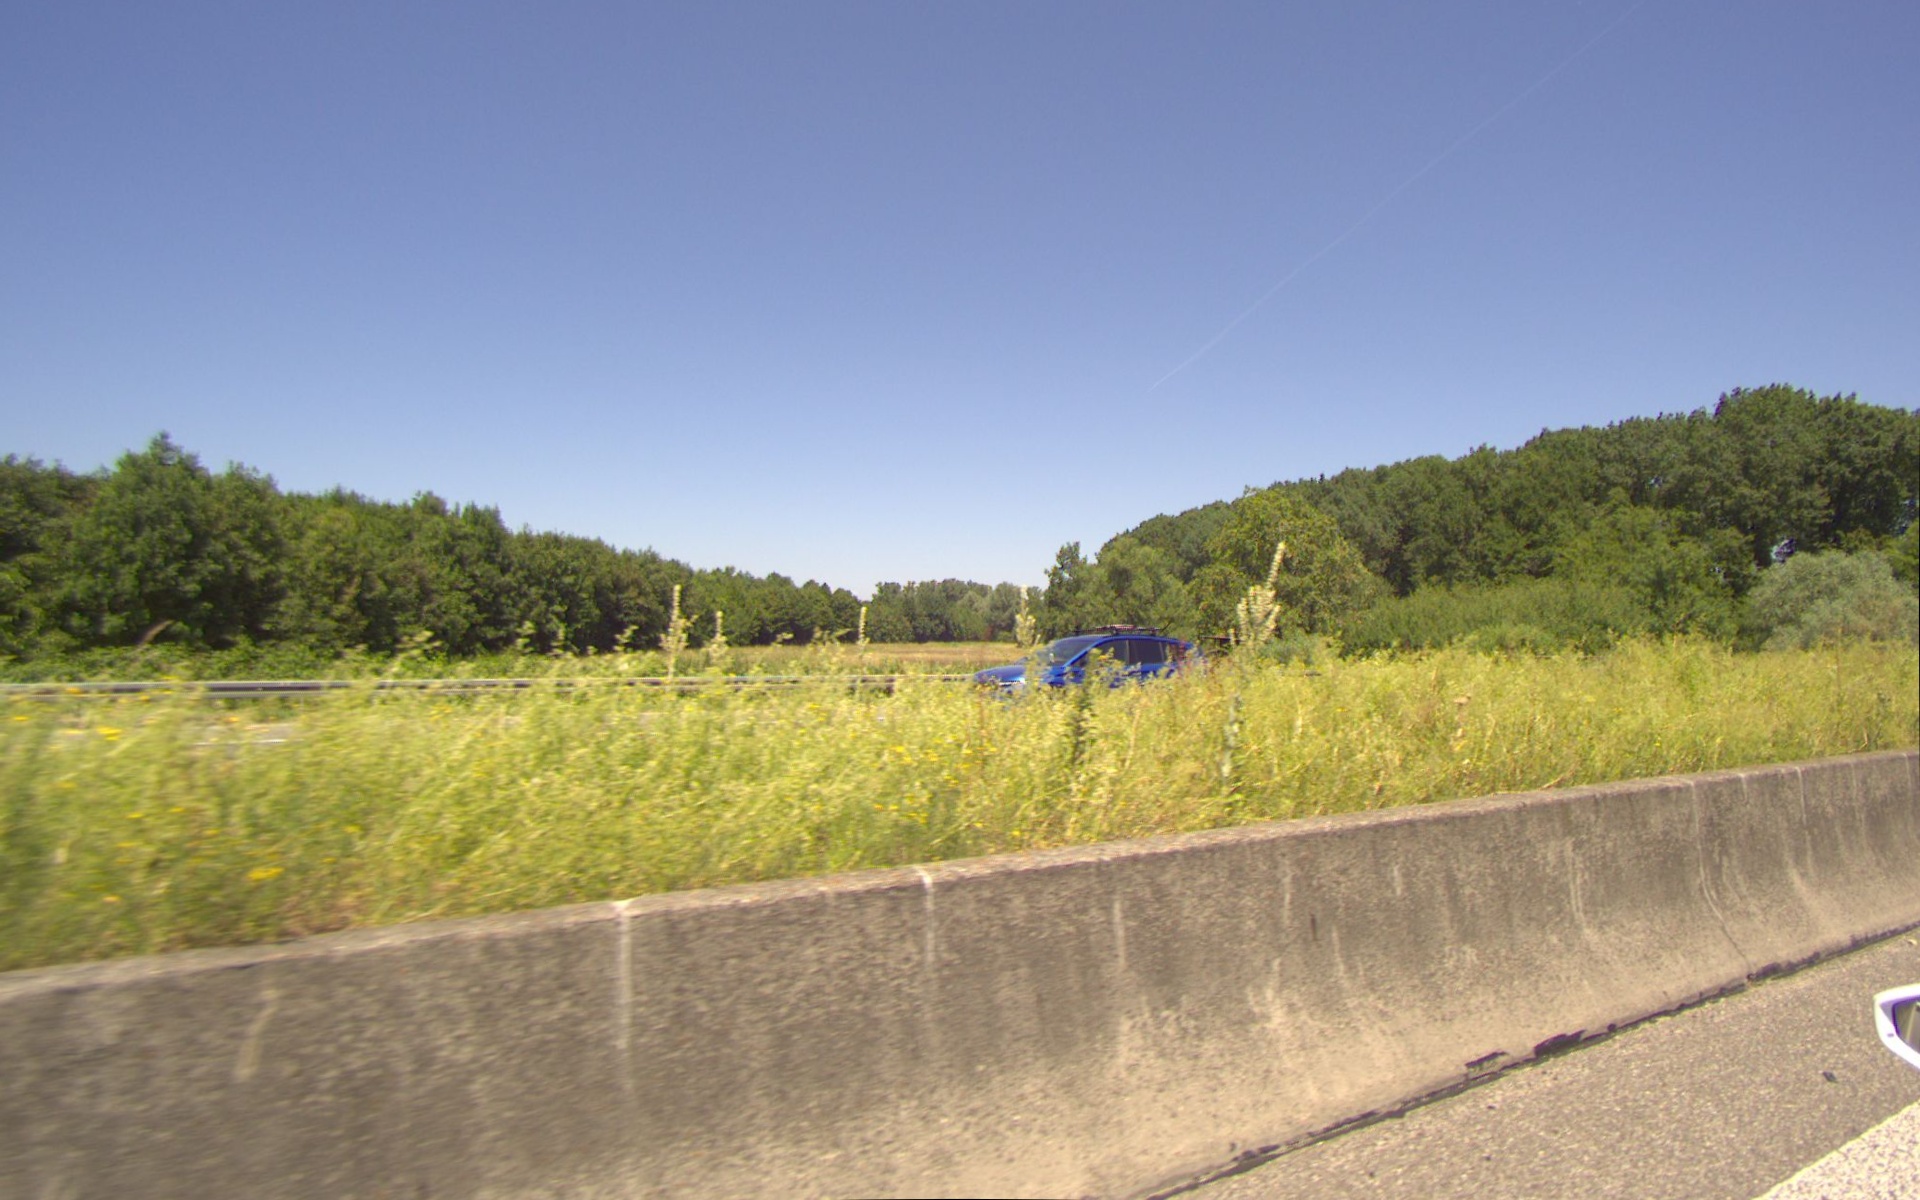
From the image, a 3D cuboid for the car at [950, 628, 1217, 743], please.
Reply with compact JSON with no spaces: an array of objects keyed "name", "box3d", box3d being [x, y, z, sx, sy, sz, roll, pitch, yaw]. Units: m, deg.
[{"name":"car","box3d":[2.056,1.340,16.507,4.122,1.674,1.815,2,-4,-30]}]
